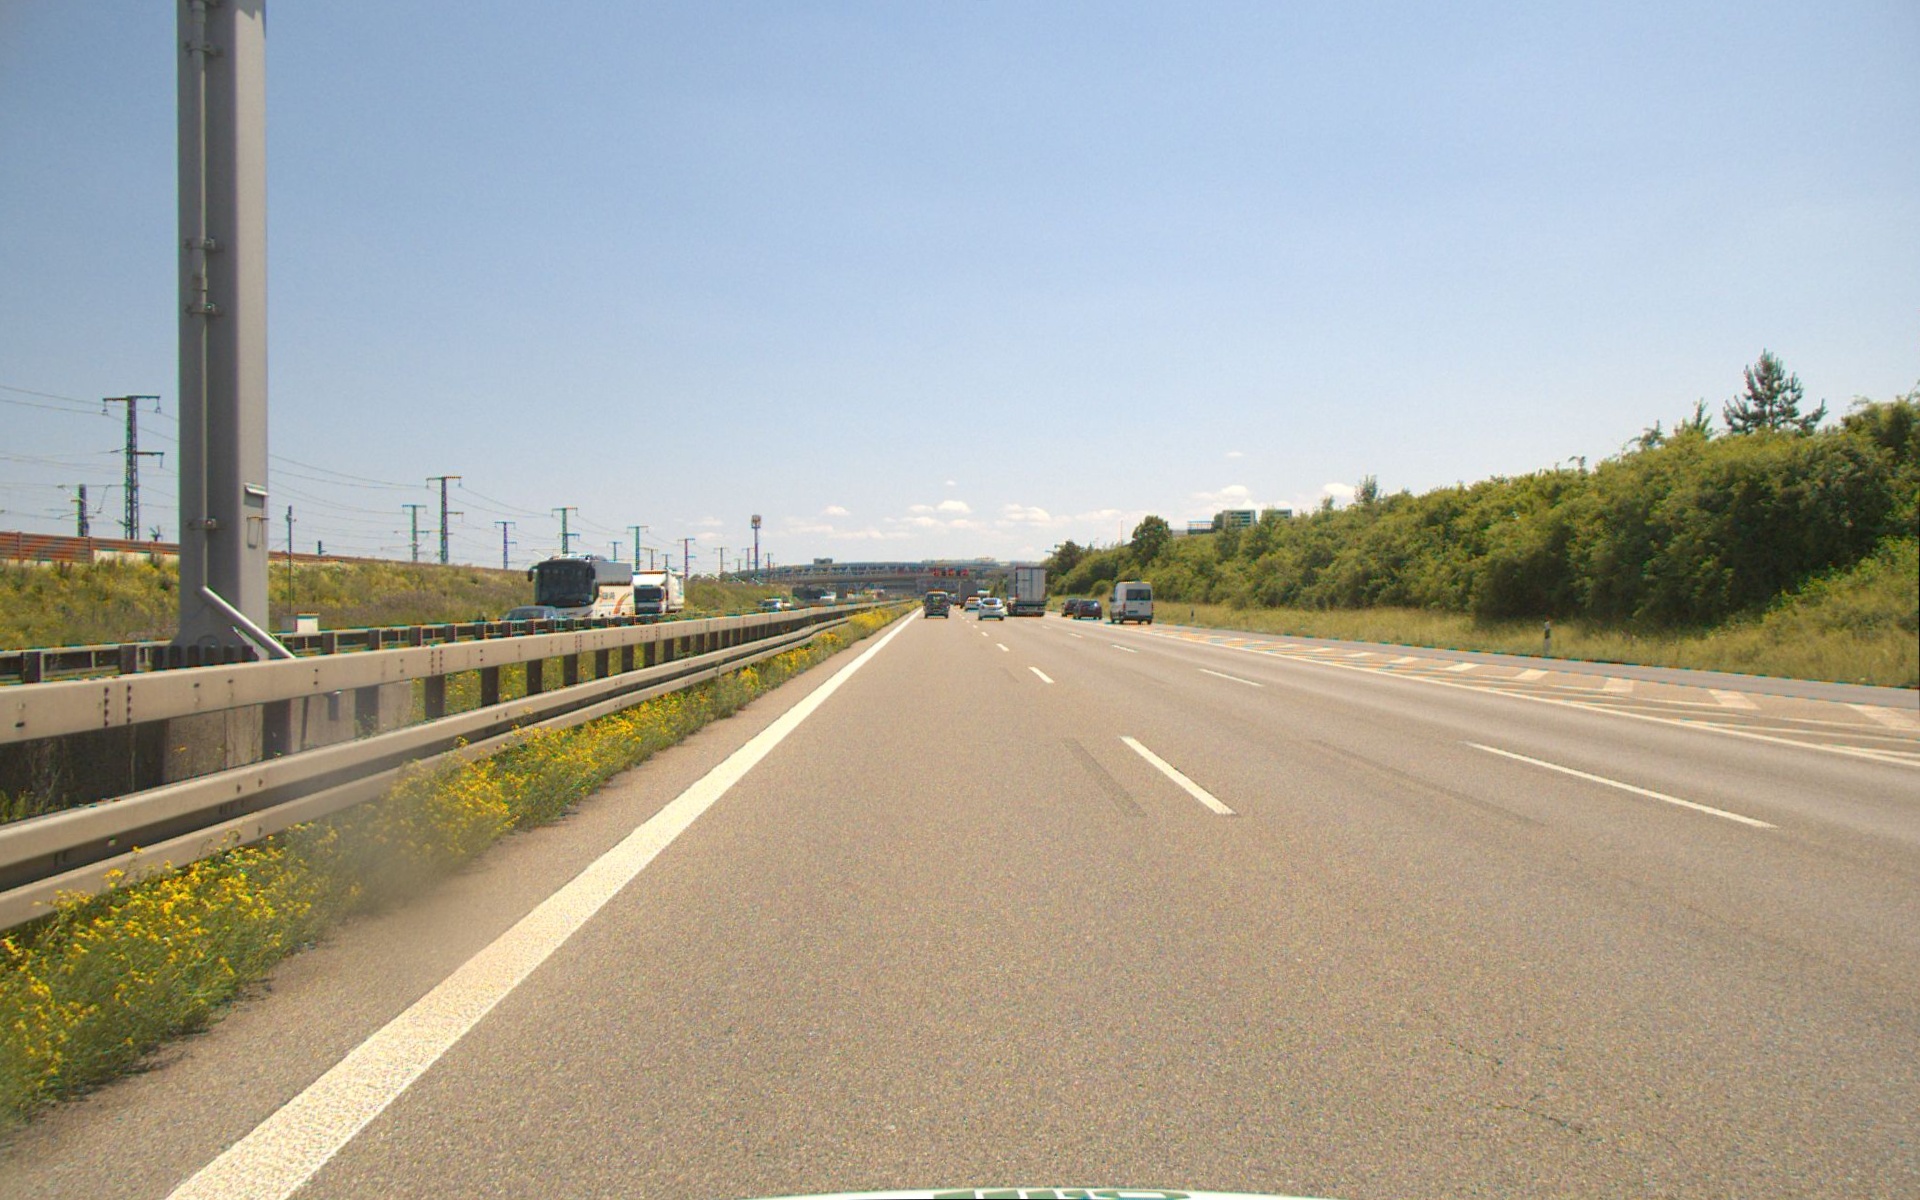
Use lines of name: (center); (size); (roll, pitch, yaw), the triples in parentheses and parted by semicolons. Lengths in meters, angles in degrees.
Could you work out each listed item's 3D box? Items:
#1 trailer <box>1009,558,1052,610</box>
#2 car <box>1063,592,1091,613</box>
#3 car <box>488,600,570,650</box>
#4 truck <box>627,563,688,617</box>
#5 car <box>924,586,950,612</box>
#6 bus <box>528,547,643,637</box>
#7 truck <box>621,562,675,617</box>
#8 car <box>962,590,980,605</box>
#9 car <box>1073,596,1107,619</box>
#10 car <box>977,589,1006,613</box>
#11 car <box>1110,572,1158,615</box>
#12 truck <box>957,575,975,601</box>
trailer: (5.901, -1.314, 139.332); (3.113, 4.130, 9.438); (-1, 0, -1)
car: (9.890, 0.190, 139.710); (1.953, 1.624, 3.998); (2, -1, -1)
car: (-14.162, 0.802, 54.544); (1.657, 1.500, 3.999); (-2, 0, -1)
truck: (-20.814, -0.700, 114.179); (2.799, 3.527, 7.779); (2, 0, -1)
car: (-1.626, -0.068, 117.954); (1.842, 1.806, 3.999); (0, -1, -1)
bus: (-16.729, -0.362, 74.760); (2.799, 3.709, 10.938); (2, 0, -1)
truck: (-20.773, -0.708, 110.415); (2.790, 3.527, 4.022); (2, 0, -1)
car: (1.162, -0.222, 177.608); (1.842, 1.553, 4.000); (1, -1, 0)
car: (9.507, 0.571, 121.377); (1.954, 1.534, 3.997); (2, -1, -3)
car: (2.153, 0.100, 111.784); (1.842, 1.553, 4.001); (1, -1, 2)
car: (10.794, -0.420, 103.046); (2.228, 2.572, 5.397); (1, 0, -2)
truck: (0.794, -1.616, 222.690); (2.307, 3.476, 6.056); (0, 0, -1)
